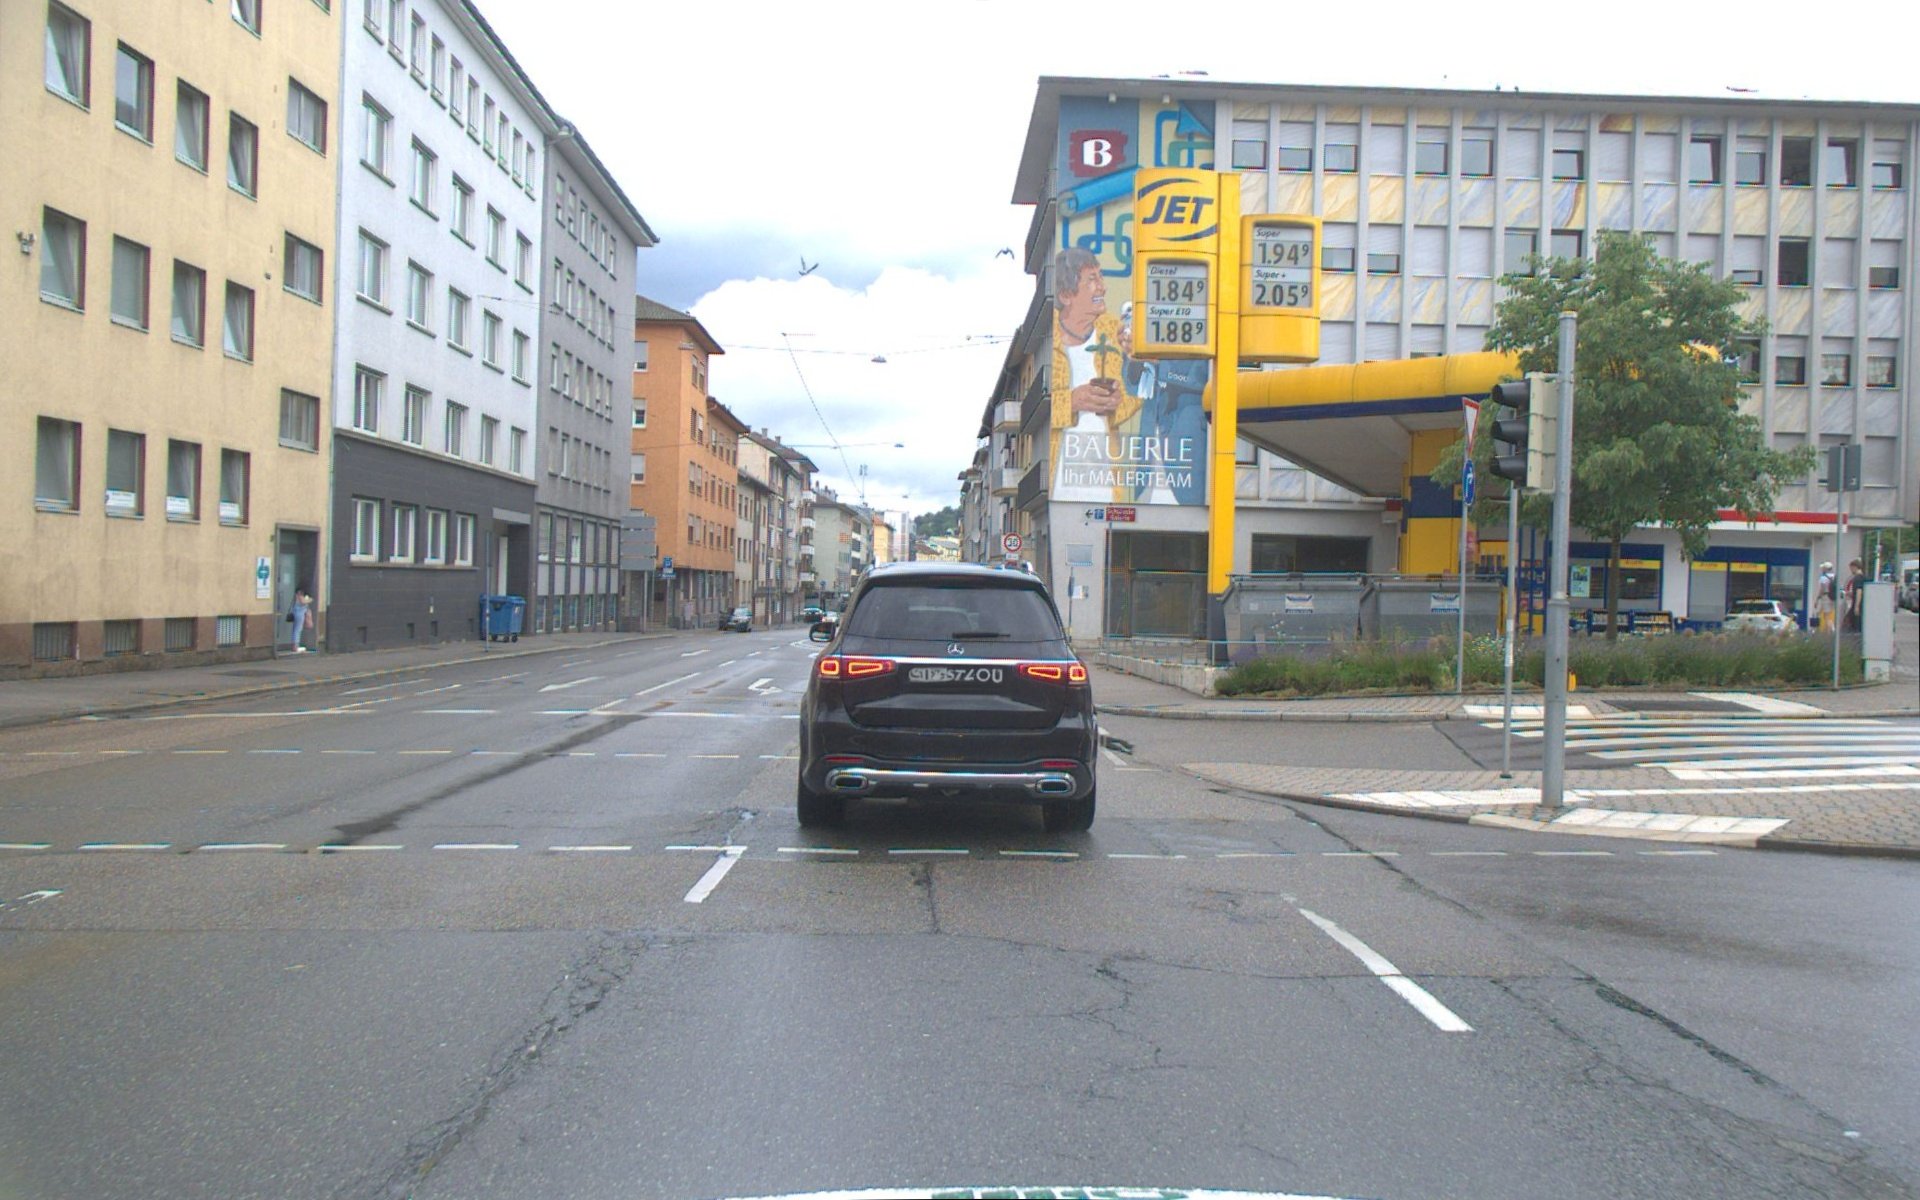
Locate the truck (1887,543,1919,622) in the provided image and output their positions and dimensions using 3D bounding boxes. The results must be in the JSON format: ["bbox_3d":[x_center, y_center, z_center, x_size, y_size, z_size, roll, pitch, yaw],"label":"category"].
[{"bbox_3d":[50.809,-0.874,88.267,1.955,3.982,5.478,3,0,27],"label":"truck"}]

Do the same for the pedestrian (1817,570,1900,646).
[{"bbox_3d":[16.961,0.148,31.228,0.910,1.376,1.097,3,-1,-42],"label":"pedestrian"}]

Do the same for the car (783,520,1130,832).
[{"bbox_3d":[-0.081,0.463,12.403,2.034,1.796,4.609,3,0,-2],"label":"car"}]

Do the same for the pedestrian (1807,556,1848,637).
[{"bbox_3d":[19.654,-0.069,37.483,0.664,1.788,0.731,3,-1,21],"label":"pedestrian"}]

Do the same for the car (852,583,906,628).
[{"bbox_3d":[-3.259,0.218,67.640,2.034,1.678,4.294,3,0,-2],"label":"car"}]

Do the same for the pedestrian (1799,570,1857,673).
[{"bbox_3d":[22.702,0.565,43.292,0.984,2.611,1.149,3,-1,13],"label":"pedestrian"}]

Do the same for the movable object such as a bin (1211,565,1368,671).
[{"bbox_3d":[5.202,0.275,26.287,2.112,1.602,1.773,1,0,-1],"label":"movable object such as a bin"}]

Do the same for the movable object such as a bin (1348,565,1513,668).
[{"bbox_3d":[7.452,0.251,26.352,2.112,1.582,1.773,0,0,-1],"label":"movable object such as a bin"}]

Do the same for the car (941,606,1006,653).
[{"bbox_3d":[0.426,1.000,57.146,1.856,1.427,4.605,-3,0,-4],"label":"car"}]

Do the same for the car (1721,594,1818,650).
[{"bbox_3d":[24.209,0.692,49.395,1.959,1.542,4.402,-1,-2,35],"label":"car"}]

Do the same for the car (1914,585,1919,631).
[{"bbox_3d":[40.995,0.370,68.795,1.955,1.897,4.574,3,0,27],"label":"car"}]

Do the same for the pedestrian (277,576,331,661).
[{"bbox_3d":[-13.749,0.379,34.669,0.702,1.719,0.811,3,0,0],"label":"pedestrian"}]

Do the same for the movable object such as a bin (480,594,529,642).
[{"bbox_3d":[-13.543,0.530,49.204,1.054,1.347,1.190,3,0,-1],"label":"movable object such as a bin"}]

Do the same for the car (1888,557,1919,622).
[{"bbox_3d":[47.161,-0.484,81.727,1.955,3.025,4.574,3,0,27],"label":"car"}]

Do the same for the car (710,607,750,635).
[{"bbox_3d":[-13.306,1.180,95.767,1.854,1.484,4.546,3,0,-3],"label":"car"}]
